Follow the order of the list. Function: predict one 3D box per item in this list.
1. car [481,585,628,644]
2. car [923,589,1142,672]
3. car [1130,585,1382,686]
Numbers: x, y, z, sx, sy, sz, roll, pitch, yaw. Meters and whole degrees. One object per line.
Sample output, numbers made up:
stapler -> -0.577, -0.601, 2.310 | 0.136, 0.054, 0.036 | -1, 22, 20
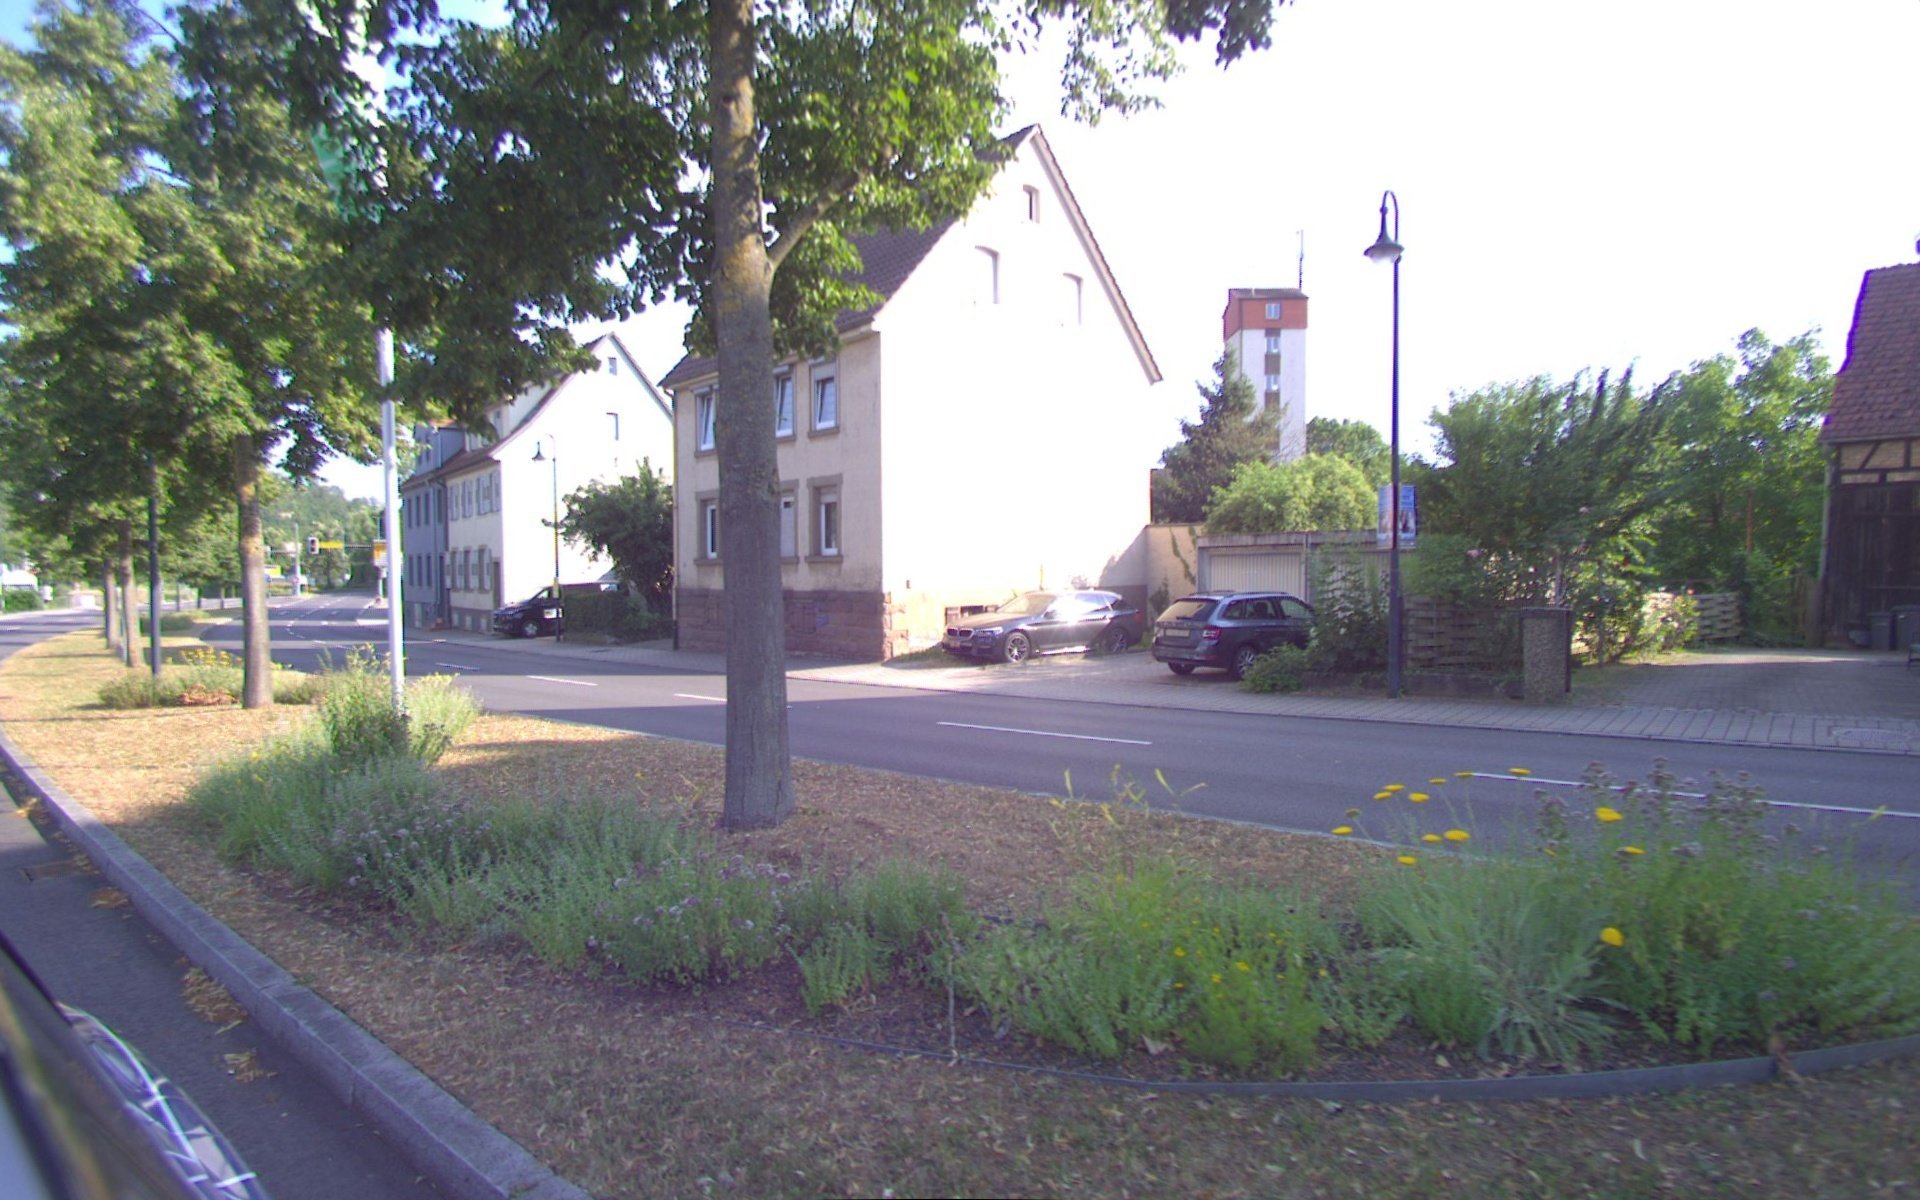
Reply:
car -> -15.365, 0.498, 38.497 | 4.763, 1.891, 2.004 | -4, 2, -38
car -> 1.573, 0.576, 21.494 | 4.288, 1.497, 2.017 | -2, 1, -34
car -> 5.305, 0.551, 17.997 | 4.287, 1.497, 1.952 | -2, 1, -33
